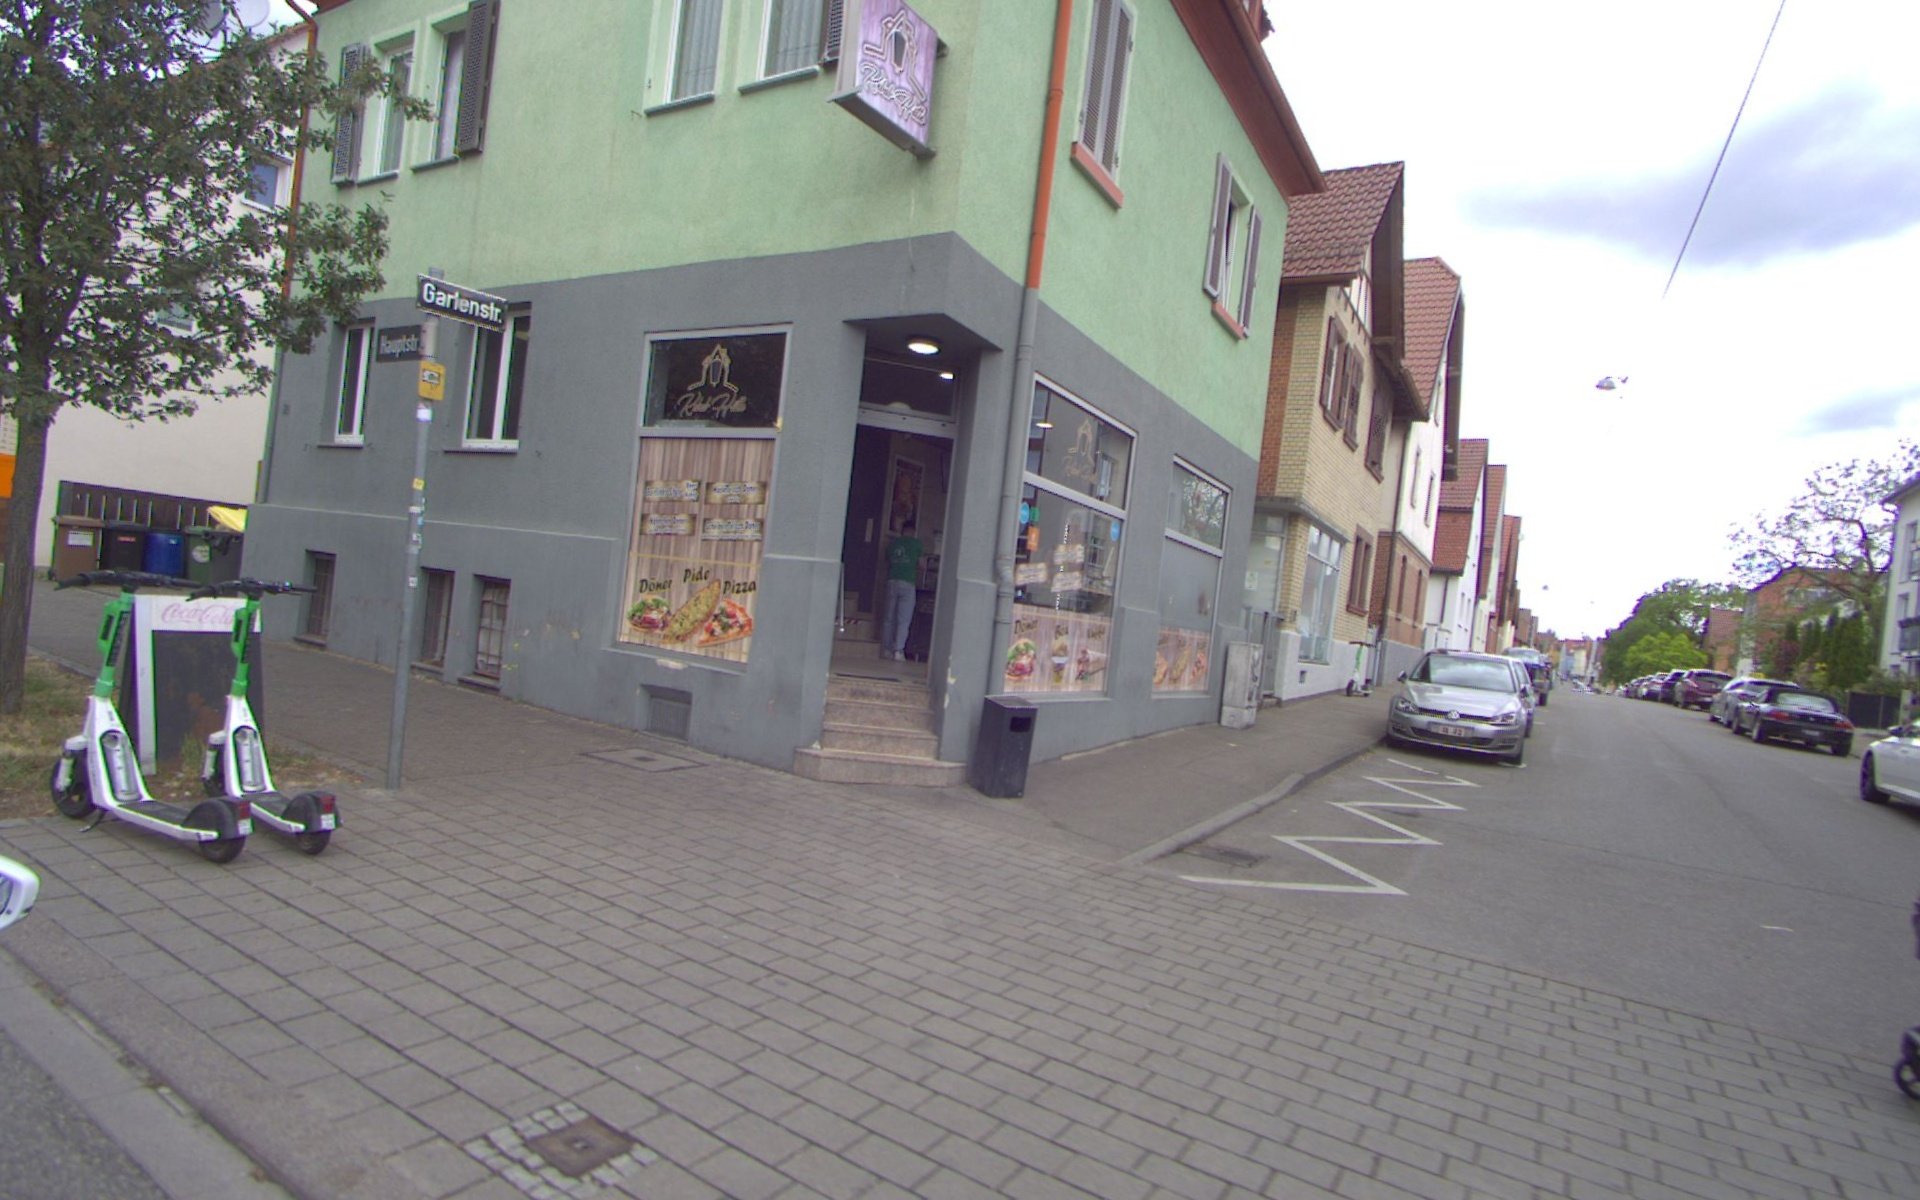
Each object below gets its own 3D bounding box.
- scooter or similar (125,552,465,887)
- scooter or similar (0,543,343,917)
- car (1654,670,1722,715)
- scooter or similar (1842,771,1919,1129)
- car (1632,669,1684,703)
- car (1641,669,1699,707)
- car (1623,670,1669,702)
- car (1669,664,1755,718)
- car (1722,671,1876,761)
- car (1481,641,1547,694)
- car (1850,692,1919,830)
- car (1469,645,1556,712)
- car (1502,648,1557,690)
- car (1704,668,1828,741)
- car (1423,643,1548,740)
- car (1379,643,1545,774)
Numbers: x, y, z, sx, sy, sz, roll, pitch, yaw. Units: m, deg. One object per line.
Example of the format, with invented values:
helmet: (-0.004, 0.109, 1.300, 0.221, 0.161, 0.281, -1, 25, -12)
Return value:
scooter or similar: (-3.267, 0.493, 4.869, 1.910, 1.250, 0.502, 7, 0, 32)
scooter or similar: (-3.540, 0.470, 4.409, 1.910, 1.250, 0.502, 7, 0, 32)
car: (32.213, 4.048, 44.612, 1.876, 1.491, 4.426, 8, 2, 31)
scooter or similar: (3.966, 1.347, 3.700, 0.876, 1.247, 0.590, 7, 0, 31)
car: (39.023, 4.784, 56.329, 1.876, 1.491, 4.426, 8, 2, 31)
car: (35.768, 4.406, 50.798, 1.876, 1.491, 4.426, 8, 2, 31)
car: (41.830, 5.224, 61.396, 1.876, 1.491, 4.426, 8, 2, 31)
car: (27.514, 3.282, 36.943, 1.876, 1.491, 4.426, 8, 2, 31)
car: (19.274, 2.586, 23.324, 1.876, 1.491, 4.426, 8, 2, 31)
car: (20.083, 2.398, 36.373, 1.773, 1.612, 4.352, 6, 1, 31)
car: (12.512, 2.075, 11.991, 1.876, 1.491, 4.426, 8, 2, 31)
car: (15.041, 2.053, 27.276, 1.773, 1.483, 4.352, 6, 1, 31)
car: (24.133, 2.874, 42.537, 1.773, 1.483, 4.352, 6, 1, 31)
car: (22.039, 2.791, 27.684, 1.876, 1.491, 4.426, 8, 2, 31)
car: (10.338, 1.685, 19.625, 1.773, 1.483, 4.352, 6, 1, 31)
car: (7.581, 1.477, 14.992, 1.773, 1.483, 4.049, 6, 1, 31)
